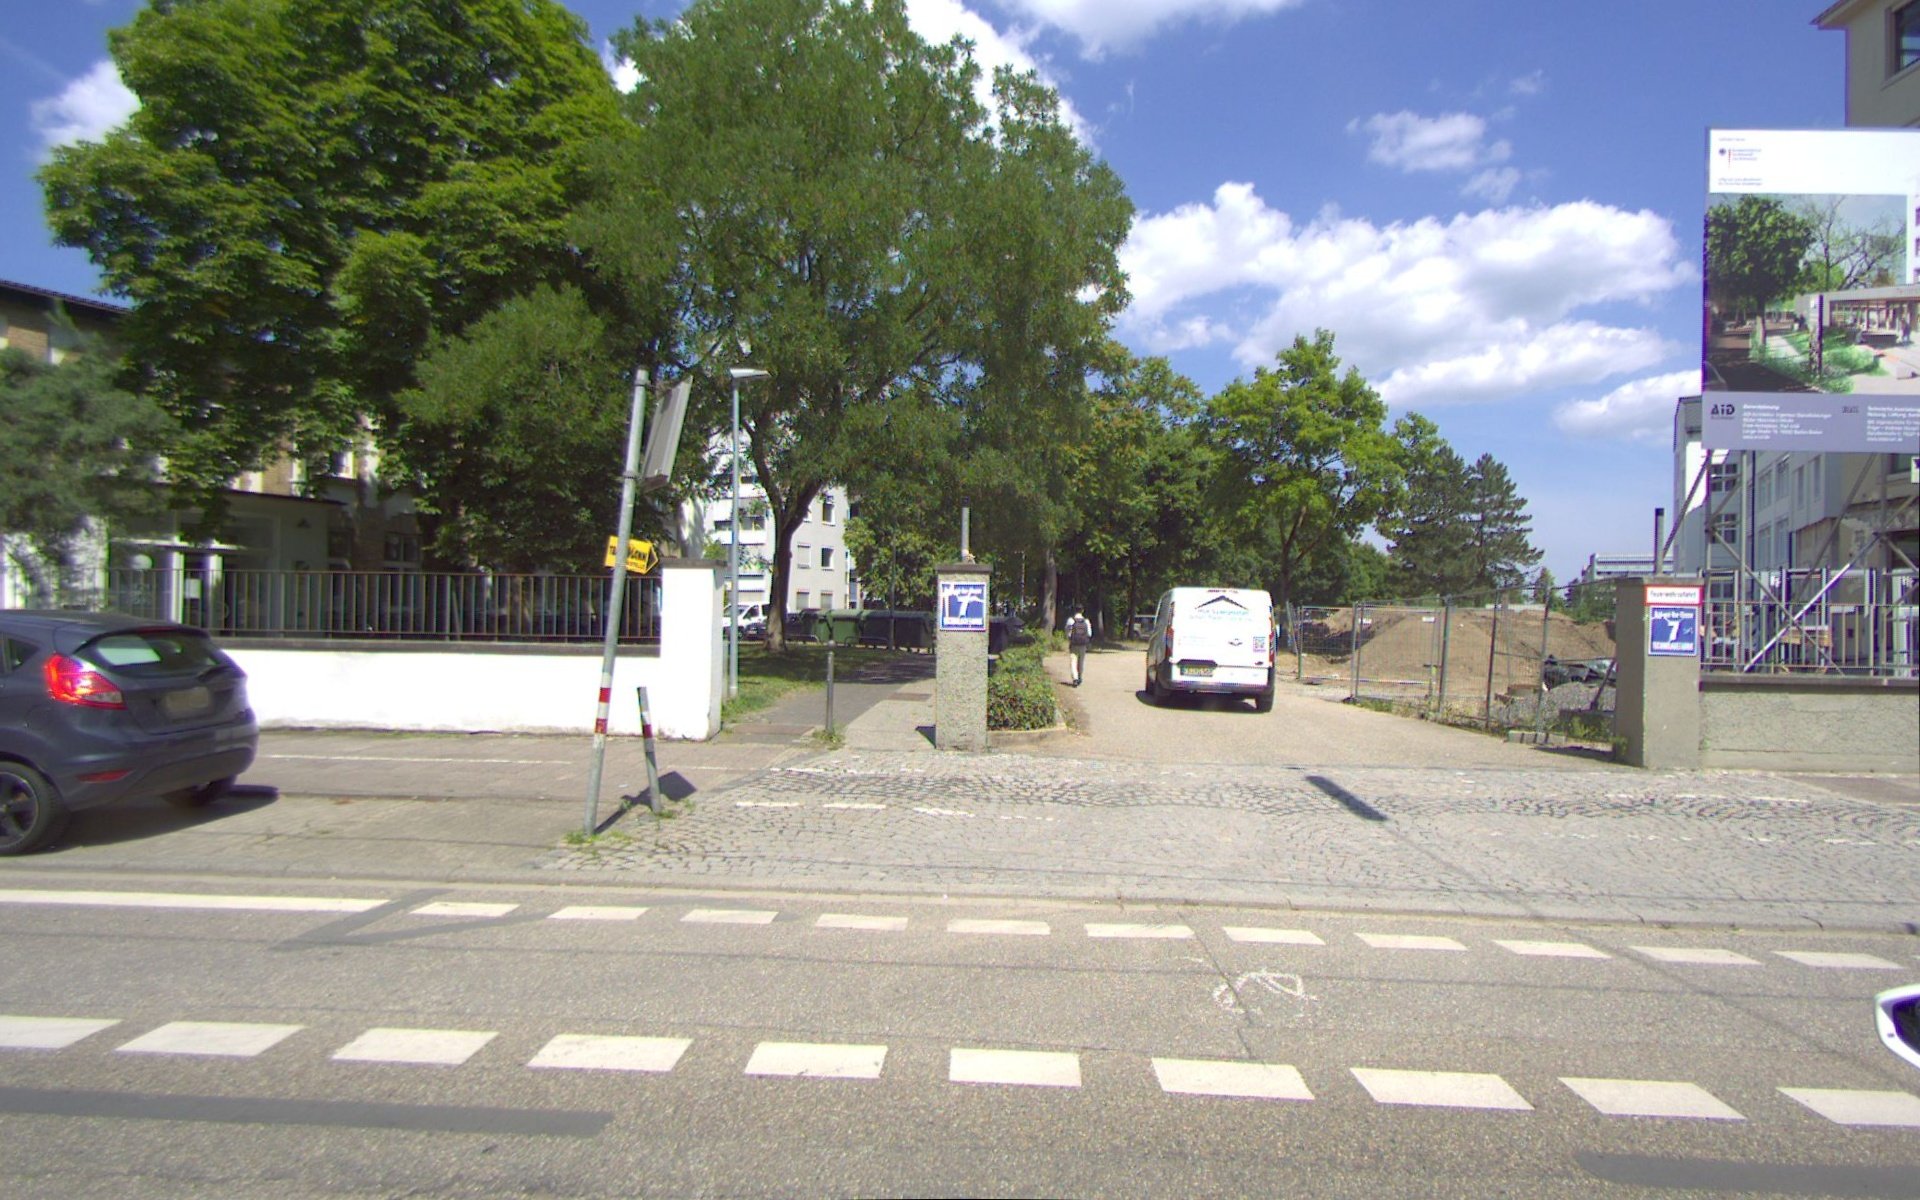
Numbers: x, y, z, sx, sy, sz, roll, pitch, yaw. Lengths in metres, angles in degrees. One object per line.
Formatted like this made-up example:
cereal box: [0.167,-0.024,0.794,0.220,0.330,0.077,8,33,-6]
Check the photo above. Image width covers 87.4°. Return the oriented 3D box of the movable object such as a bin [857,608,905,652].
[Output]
movable object such as a bin: [-2.787,1.057,35.511,1.333,1.499,1.096,1,0,20]

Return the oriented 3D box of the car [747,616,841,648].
car: [-7.747,1.502,47.247,1.801,1.370,4.618,1,-1,30]

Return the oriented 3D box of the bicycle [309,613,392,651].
bicycle: [-16.023,0.835,26.398,2.216,0.902,0.655,1,-1,23]

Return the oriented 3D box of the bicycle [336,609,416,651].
bicycle: [-15.810,0.803,27.202,2.216,1.025,0.632,1,-1,22]

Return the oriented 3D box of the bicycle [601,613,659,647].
bicycle: [-11.540,1.042,35.103,2.220,1.096,0.606,1,-1,32]

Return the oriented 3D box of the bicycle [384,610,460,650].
bicycle: [-15.219,0.838,28.393,2.216,1.025,0.607,1,-1,23]

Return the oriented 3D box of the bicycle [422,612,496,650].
bicycle: [-14.579,0.894,29.223,2.216,1.025,0.607,1,-1,23]

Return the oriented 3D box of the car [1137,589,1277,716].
car: [4.328,0.864,18.271,1.939,1.973,4.584,1,-1,7]

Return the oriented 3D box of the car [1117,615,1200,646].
car: [11.931,1.823,60.411,4.440,1.630,1.997,1,-3,31]

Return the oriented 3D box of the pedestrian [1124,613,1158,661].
pedestrian: [6.577,1.324,36.449,1.018,1.672,1.049,1,0,22]

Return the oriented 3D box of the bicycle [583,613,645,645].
bicycle: [-11.846,0.991,34.407,2.218,1.025,0.606,1,-1,27]

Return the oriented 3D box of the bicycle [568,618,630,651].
bicycle: [-12.170,1.141,33.832,2.218,1.025,0.606,1,-1,27]

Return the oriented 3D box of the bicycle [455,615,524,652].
bicycle: [-14.069,0.981,30.000,2.218,1.025,0.606,1,-1,27]

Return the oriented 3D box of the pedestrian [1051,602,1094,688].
pedestrian: [2.382,0.933,21.325,0.859,1.752,1.081,1,0,6]

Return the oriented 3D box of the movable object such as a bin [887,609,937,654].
movable object such as a bin: [-1.662,1.081,34.817,1.300,1.499,1.206,1,0,27]

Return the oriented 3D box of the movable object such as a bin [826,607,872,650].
movable object such as a bin: [-3.995,1.032,36.168,1.239,1.499,1.045,1,0,31]

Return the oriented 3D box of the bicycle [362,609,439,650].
bicycle: [-15.478,0.804,27.768,2.216,1.025,0.570,1,0,23]

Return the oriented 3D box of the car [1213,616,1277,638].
car: [22.258,2.104,78.372,4.440,1.619,1.933,1,-1,31]

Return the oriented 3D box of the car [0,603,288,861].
car: [-6.923,0.786,6.796,3.653,1.476,1.588,1,2,-1]

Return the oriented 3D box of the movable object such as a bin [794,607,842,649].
movable object such as a bin: [-5.232,1.007,36.957,1.385,1.499,1.045,1,0,31]

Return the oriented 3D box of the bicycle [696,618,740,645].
bicycle: [-9.230,1.187,38.291,1.700,0.971,0.612,1,-1,32]

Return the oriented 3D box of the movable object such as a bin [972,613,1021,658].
movable object such as a bin: [1.199,1.159,32.735,1.106,1.412,1.148,1,0,-37]

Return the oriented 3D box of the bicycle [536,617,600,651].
bicycle: [-12.759,1.083,32.654,2.218,1.025,0.606,1,-1,27]

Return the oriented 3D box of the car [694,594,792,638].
car: [-10.536,0.820,49.119,1.964,2.040,4.766,0,-1,30]

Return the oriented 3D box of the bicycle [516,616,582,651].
bicycle: [-13.090,1.046,31.971,2.218,1.025,0.606,1,-1,27]

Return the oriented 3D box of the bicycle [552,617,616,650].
bicycle: [-12.453,1.103,33.227,2.218,1.025,0.606,1,-1,27]
